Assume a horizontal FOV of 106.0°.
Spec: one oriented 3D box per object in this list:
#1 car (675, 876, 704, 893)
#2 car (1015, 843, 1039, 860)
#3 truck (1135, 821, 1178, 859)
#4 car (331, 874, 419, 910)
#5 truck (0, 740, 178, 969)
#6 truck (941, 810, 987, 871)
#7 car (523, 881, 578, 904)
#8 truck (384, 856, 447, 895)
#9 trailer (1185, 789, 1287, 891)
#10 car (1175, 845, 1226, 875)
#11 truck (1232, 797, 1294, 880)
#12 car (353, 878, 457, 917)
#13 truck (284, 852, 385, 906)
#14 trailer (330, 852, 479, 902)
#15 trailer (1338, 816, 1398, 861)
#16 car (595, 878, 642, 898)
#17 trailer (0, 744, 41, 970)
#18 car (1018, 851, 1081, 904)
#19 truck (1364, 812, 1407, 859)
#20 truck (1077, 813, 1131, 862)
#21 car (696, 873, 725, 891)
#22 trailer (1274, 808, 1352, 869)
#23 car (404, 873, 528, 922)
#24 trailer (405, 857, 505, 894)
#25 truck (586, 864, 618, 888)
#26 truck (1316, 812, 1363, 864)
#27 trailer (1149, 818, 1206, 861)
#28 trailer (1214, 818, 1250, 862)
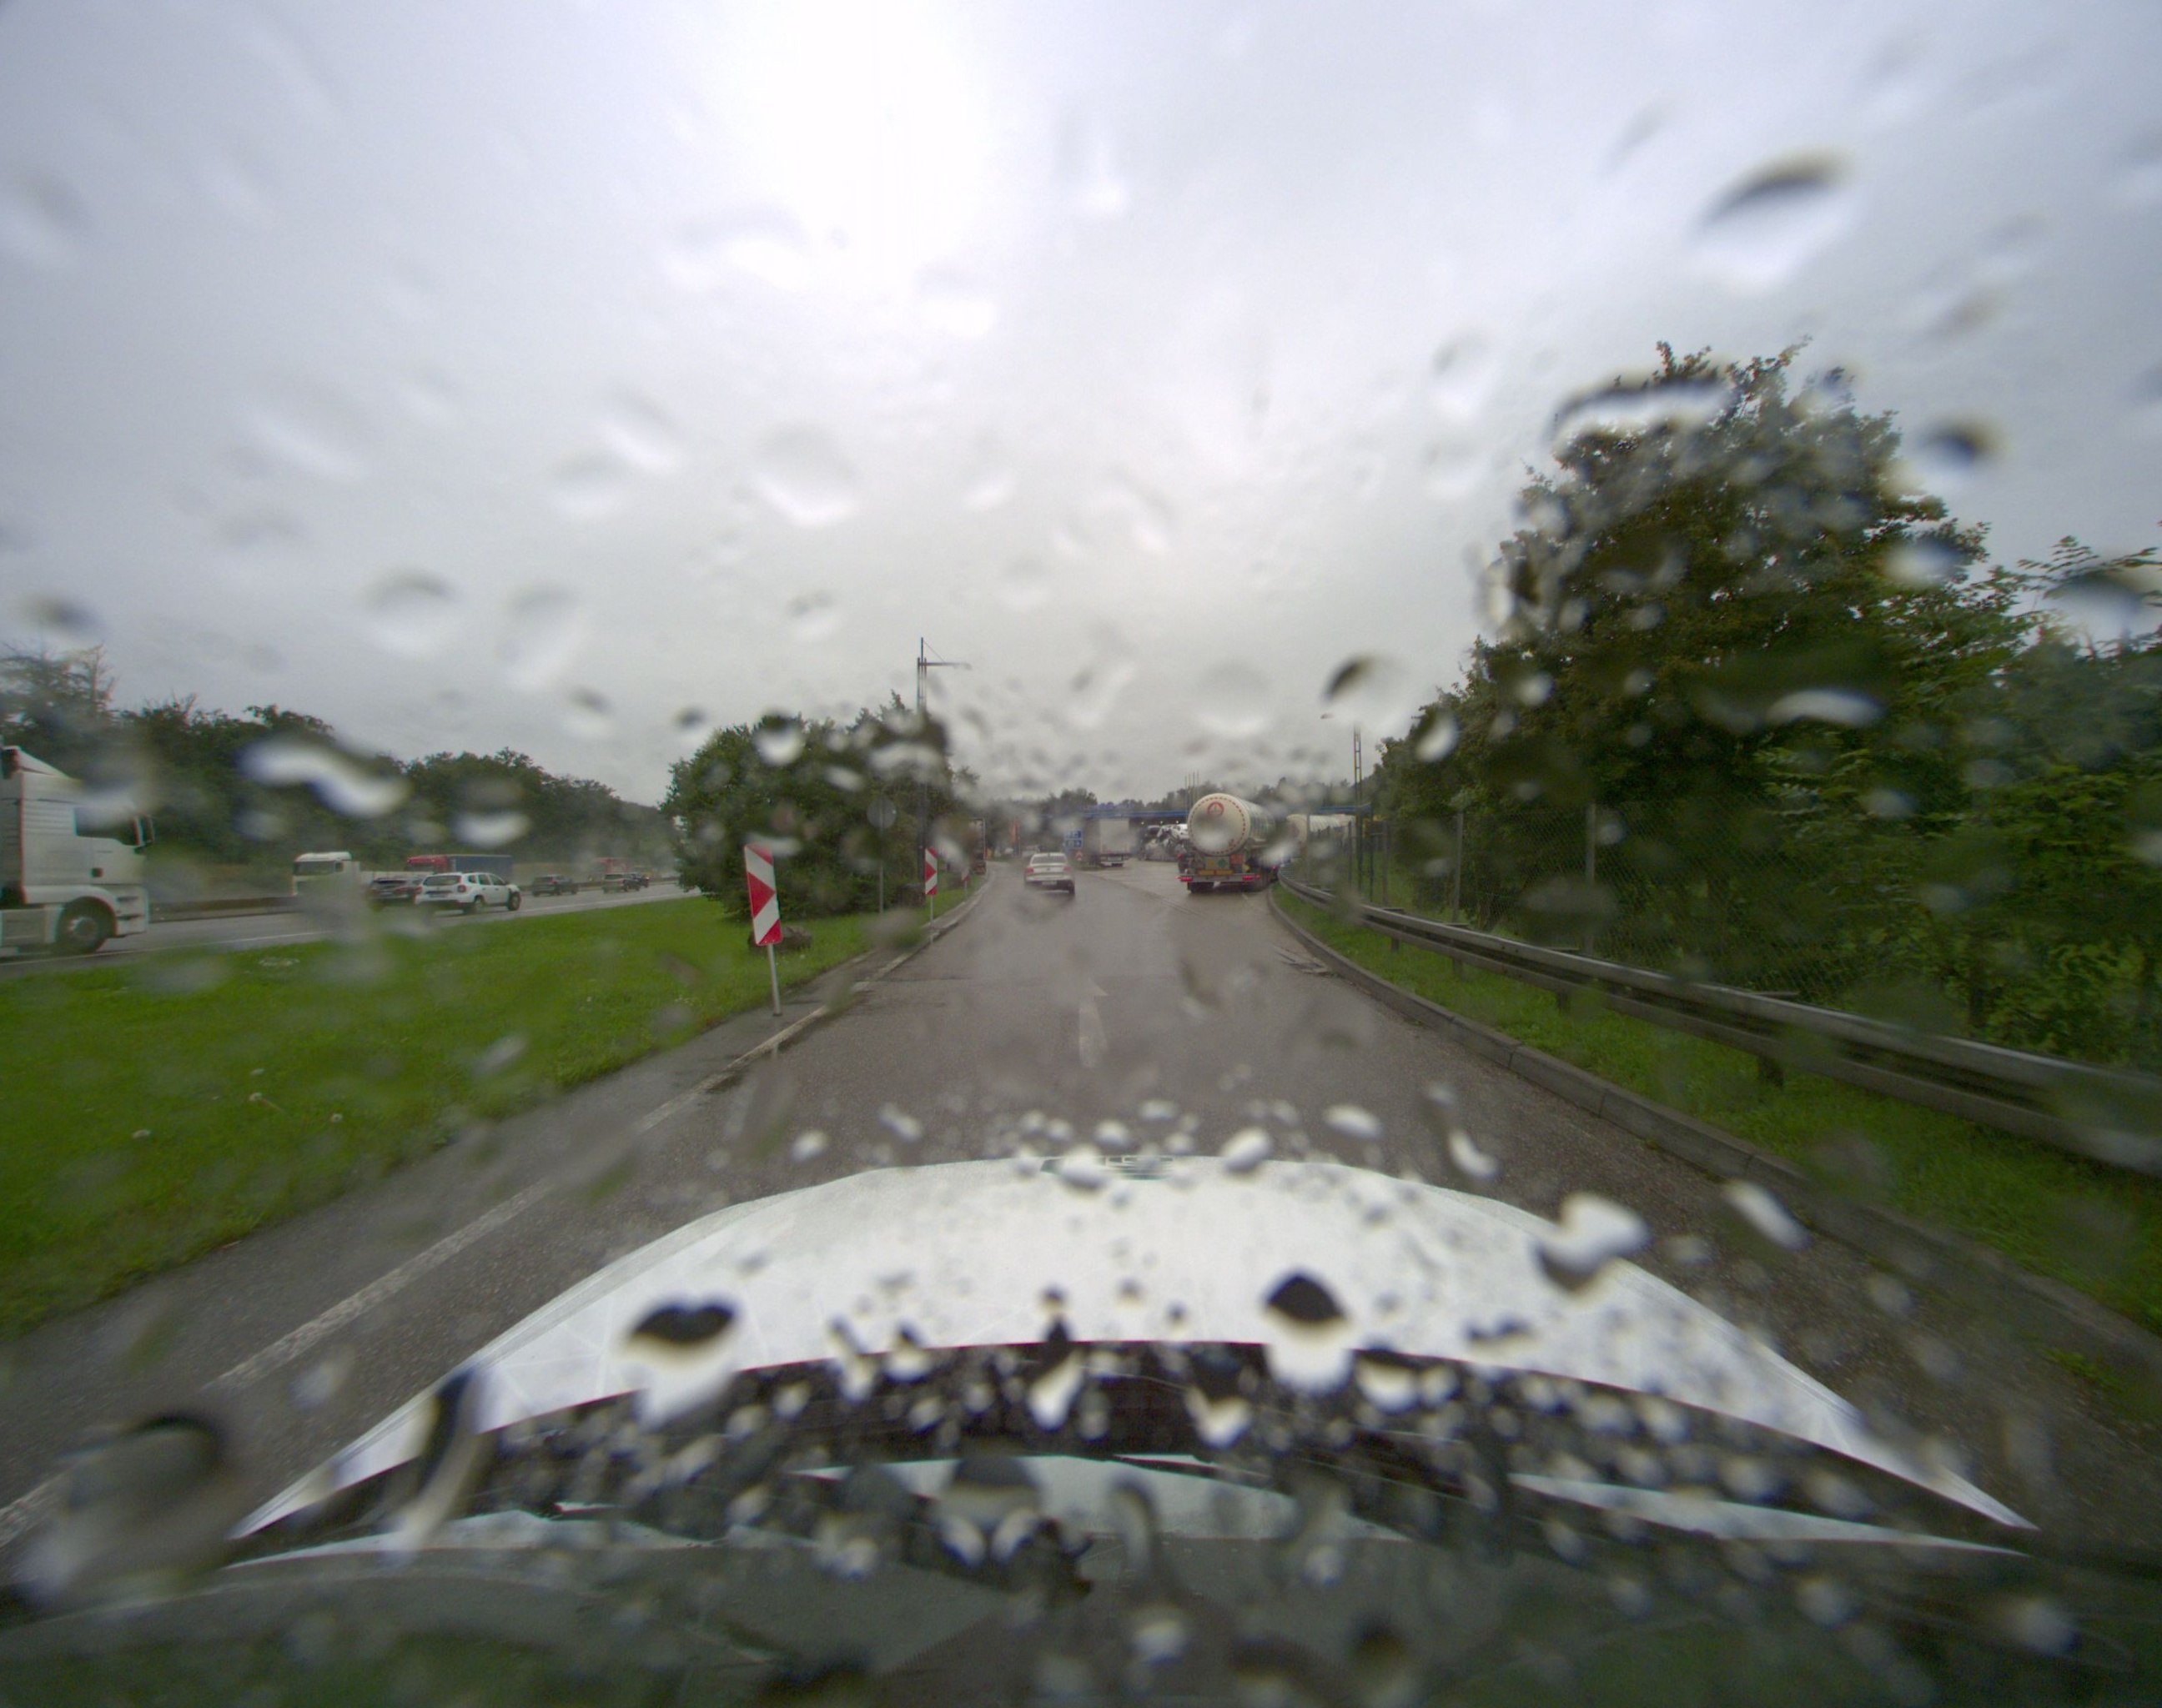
[{"bbox_3d":[-42.818,3.303,89.132,1.776,1.736,4.086,-3,-1,-10],"label":"car"},{"bbox_3d":[-4.546,-0.209,69.218,1.874,1.461,3.997,0,0,-2],"label":"car"},{"bbox_3d":[8.639,-1.612,94.177,3.231,4.188,8.424,0,1,-7],"label":"truck"},{"bbox_3d":[-38.363,2.037,44.392,1.708,1.750,3.987,2,-1,-9],"label":"car"},{"bbox_3d":[-20.559,0.073,14.497,2.873,4.052,5.913,-2,-1,-10],"label":"truck"},{"bbox_3d":[-8.175,-0.913,56.658,2.914,3.904,6.297,-1,0,-9],"label":"truck"},{"bbox_3d":[-40.493,2.879,62.295,1.717,1.574,4.448,-2,-1,-7],"label":"car"},{"bbox_3d":[-63.031,2.004,77.267,2.191,3.510,5.150,2,-2,-10],"label":"truck"},{"bbox_3d":[6.173,-0.474,30.894,1.963,3.224,10.375,-1,0,21],"label":"trailer"},{"bbox_3d":[7.362,0.409,50.069,1.726,1.667,4.024,0,-2,30],"label":"car"},{"bbox_3d":[8.405,-0.684,37.274,2.035,3.531,4.770,-1,0,21],"label":"truck"},{"bbox_3d":[-32.529,2.047,39.383,1.926,1.663,4.442,-2,-1,-11],"label":"car"},{"bbox_3d":[-55.285,1.763,60.527,2.622,3.670,5.972,2,0,-10],"label":"truck"},{"bbox_3d":[-56.743,1.723,69.153,2.615,3.680,14.623,2,0,-10],"label":"trailer"},{"bbox_3d":[23.084,-1.257,65.228,2.161,3.392,7.612,-1,0,38],"label":"trailer"},{"bbox_3d":[-38.293,2.810,67.532,1.787,1.527,4.323,-2,-1,-7],"label":"car"},{"bbox_3d":[-19.371,-0.045,7.780,2.895,3.982,14.067,-3,-1,-10],"label":"trailer"},{"bbox_3d":[-1.062,0.824,29.291,1.987,1.679,3.999,-2,-1,0],"label":"car"},{"bbox_3d":[25.743,-1.580,68.710,2.160,3.828,4.168,-1,0,38],"label":"truck"},{"bbox_3d":[1.827,-1.415,71.755,2.370,3.874,12.416,-2,1,-9],"label":"truck"},{"bbox_3d":[-38.249,2.911,84.127,1.776,1.736,3.833,-2,-1,-10],"label":"car"},{"bbox_3d":[14.891,-0.967,51.597,2.111,3.440,10.318,-1,0,31],"label":"trailer"},{"bbox_3d":[-22.760,1.545,30.350,1.785,1.586,4.310,-2,-1,-9],"label":"car"},{"bbox_3d":[-64.239,2.184,84.118,2.190,3.497,13.086,2,-2,-10],"label":"trailer"},{"bbox_3d":[-75.139,3.420,127.829,2.442,3.619,5.777,2,0,-12],"label":"truck"},{"bbox_3d":[18.208,-1.112,57.222,2.125,3.513,4.675,-1,0,31],"label":"truck"},{"bbox_3d":[9.825,-1.465,84.268,3.212,4.188,11.502,0,1,-7],"label":"trailer"},{"bbox_3d":[16.658,-1.459,90.685,1.988,4.559,9.804,-1,0,-1],"label":"trailer"}]
